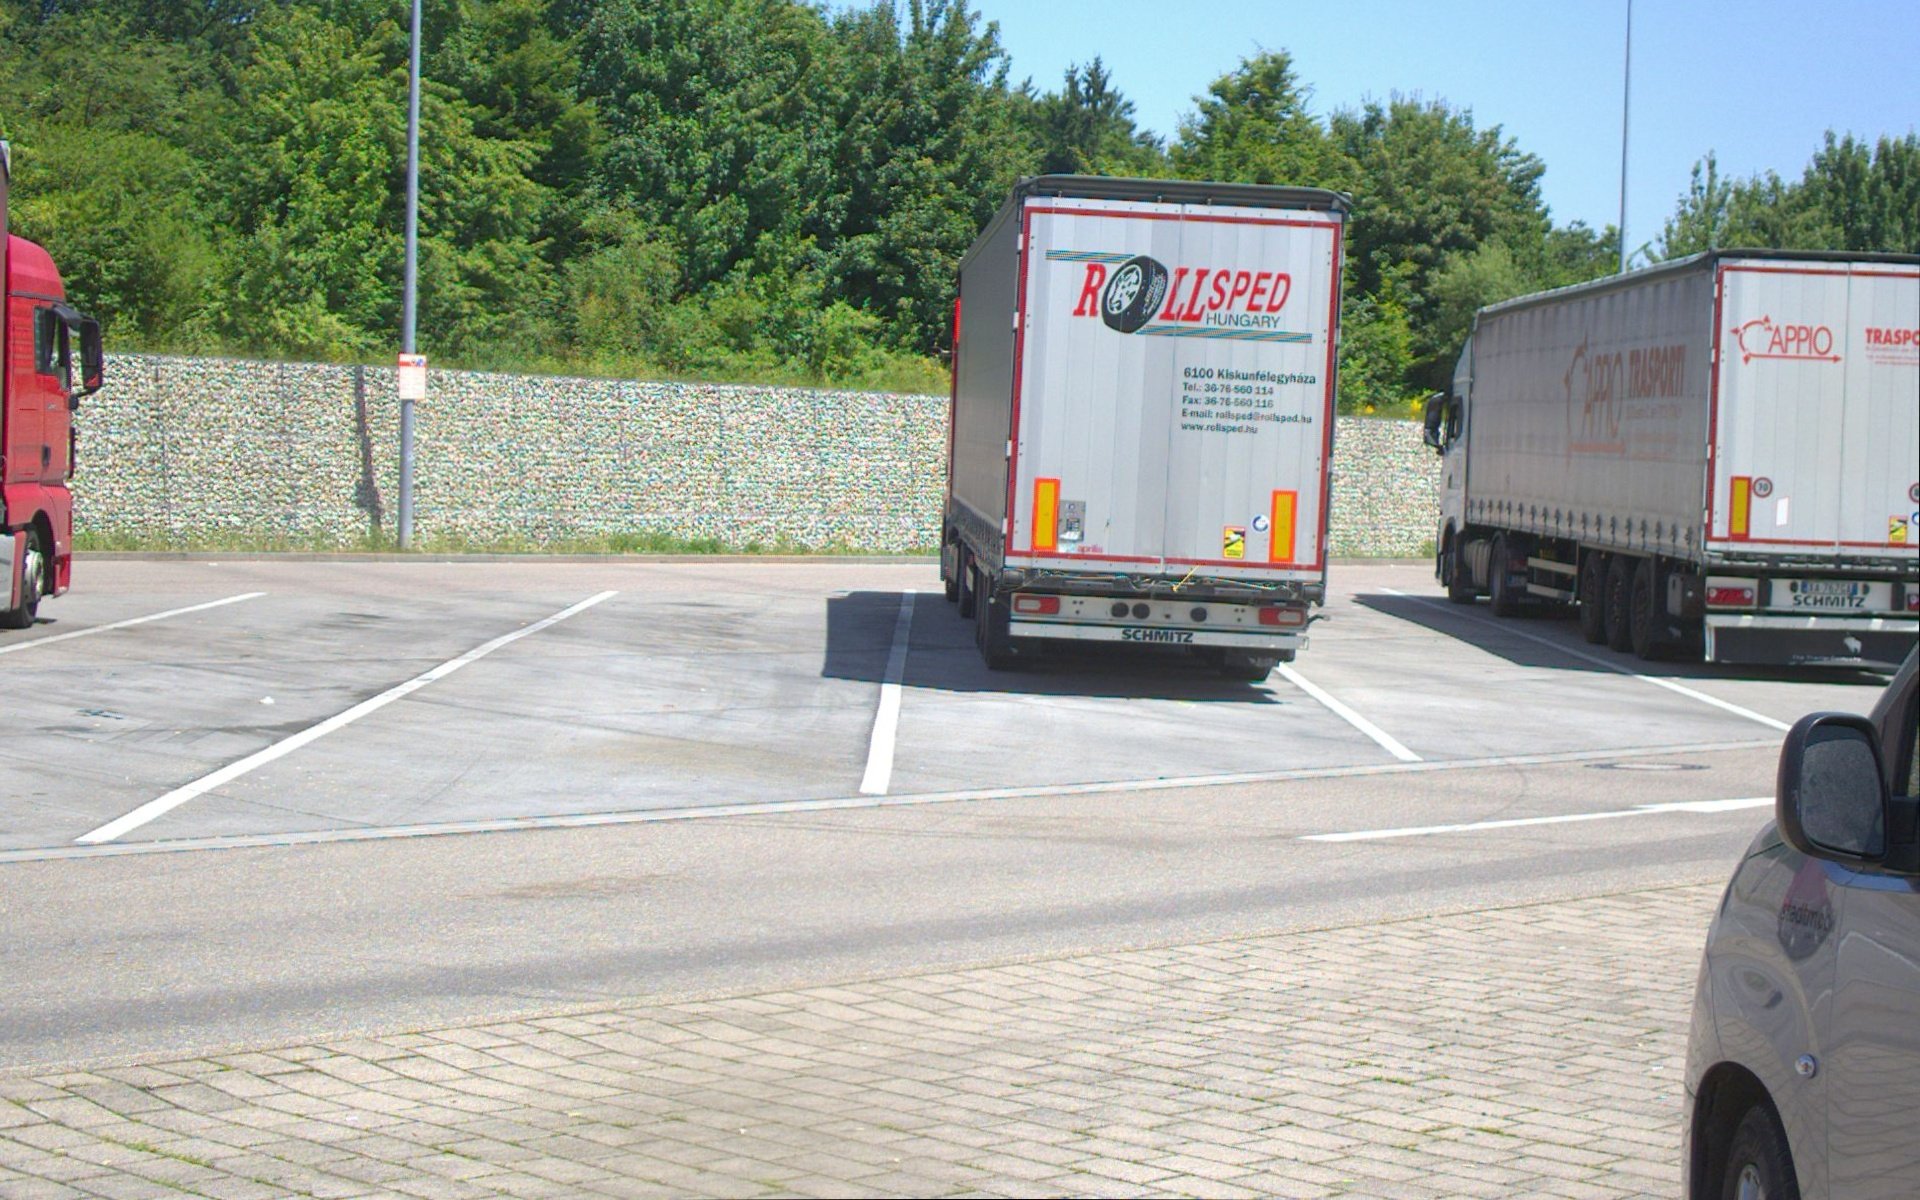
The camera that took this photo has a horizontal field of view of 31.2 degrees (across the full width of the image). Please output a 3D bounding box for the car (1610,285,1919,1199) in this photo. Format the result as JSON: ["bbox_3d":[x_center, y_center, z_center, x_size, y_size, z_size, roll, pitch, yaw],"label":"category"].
[{"bbox_3d":[2.149,0.589,3.822,1.869,1.857,4.177,2,2,-2],"label":"car"}]

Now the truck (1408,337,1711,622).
[{"bbox_3d":[8.029,-1.693,46.803,2.862,3.509,5.900,2,3,-1],"label":"truck"}]

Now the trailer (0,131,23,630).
[{"bbox_3d":[-9.191,-1.481,21.543,2.791,4.071,14.133,2,3,-1],"label":"trailer"}]

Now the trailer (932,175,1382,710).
[{"bbox_3d":[1.453,-1.587,33.591,3.133,3.976,14.397,2,3,-1],"label":"trailer"}]

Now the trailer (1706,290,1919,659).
[{"bbox_3d":[11.762,-1.451,39.753,2.811,3.976,14.396,2,3,-1],"label":"trailer"}]

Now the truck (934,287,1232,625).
[{"bbox_3d":[1.318,-1.728,40.483,3.103,3.554,5.900,2,3,-1],"label":"truck"}]

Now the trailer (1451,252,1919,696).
[{"bbox_3d":[8.121,-1.518,38.702,2.811,3.976,14.396,2,3,-1],"label":"trailer"}]

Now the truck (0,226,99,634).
[{"bbox_3d":[-9.234,-1.436,28.117,2.851,3.316,5.900,2,3,-1],"label":"truck"}]
